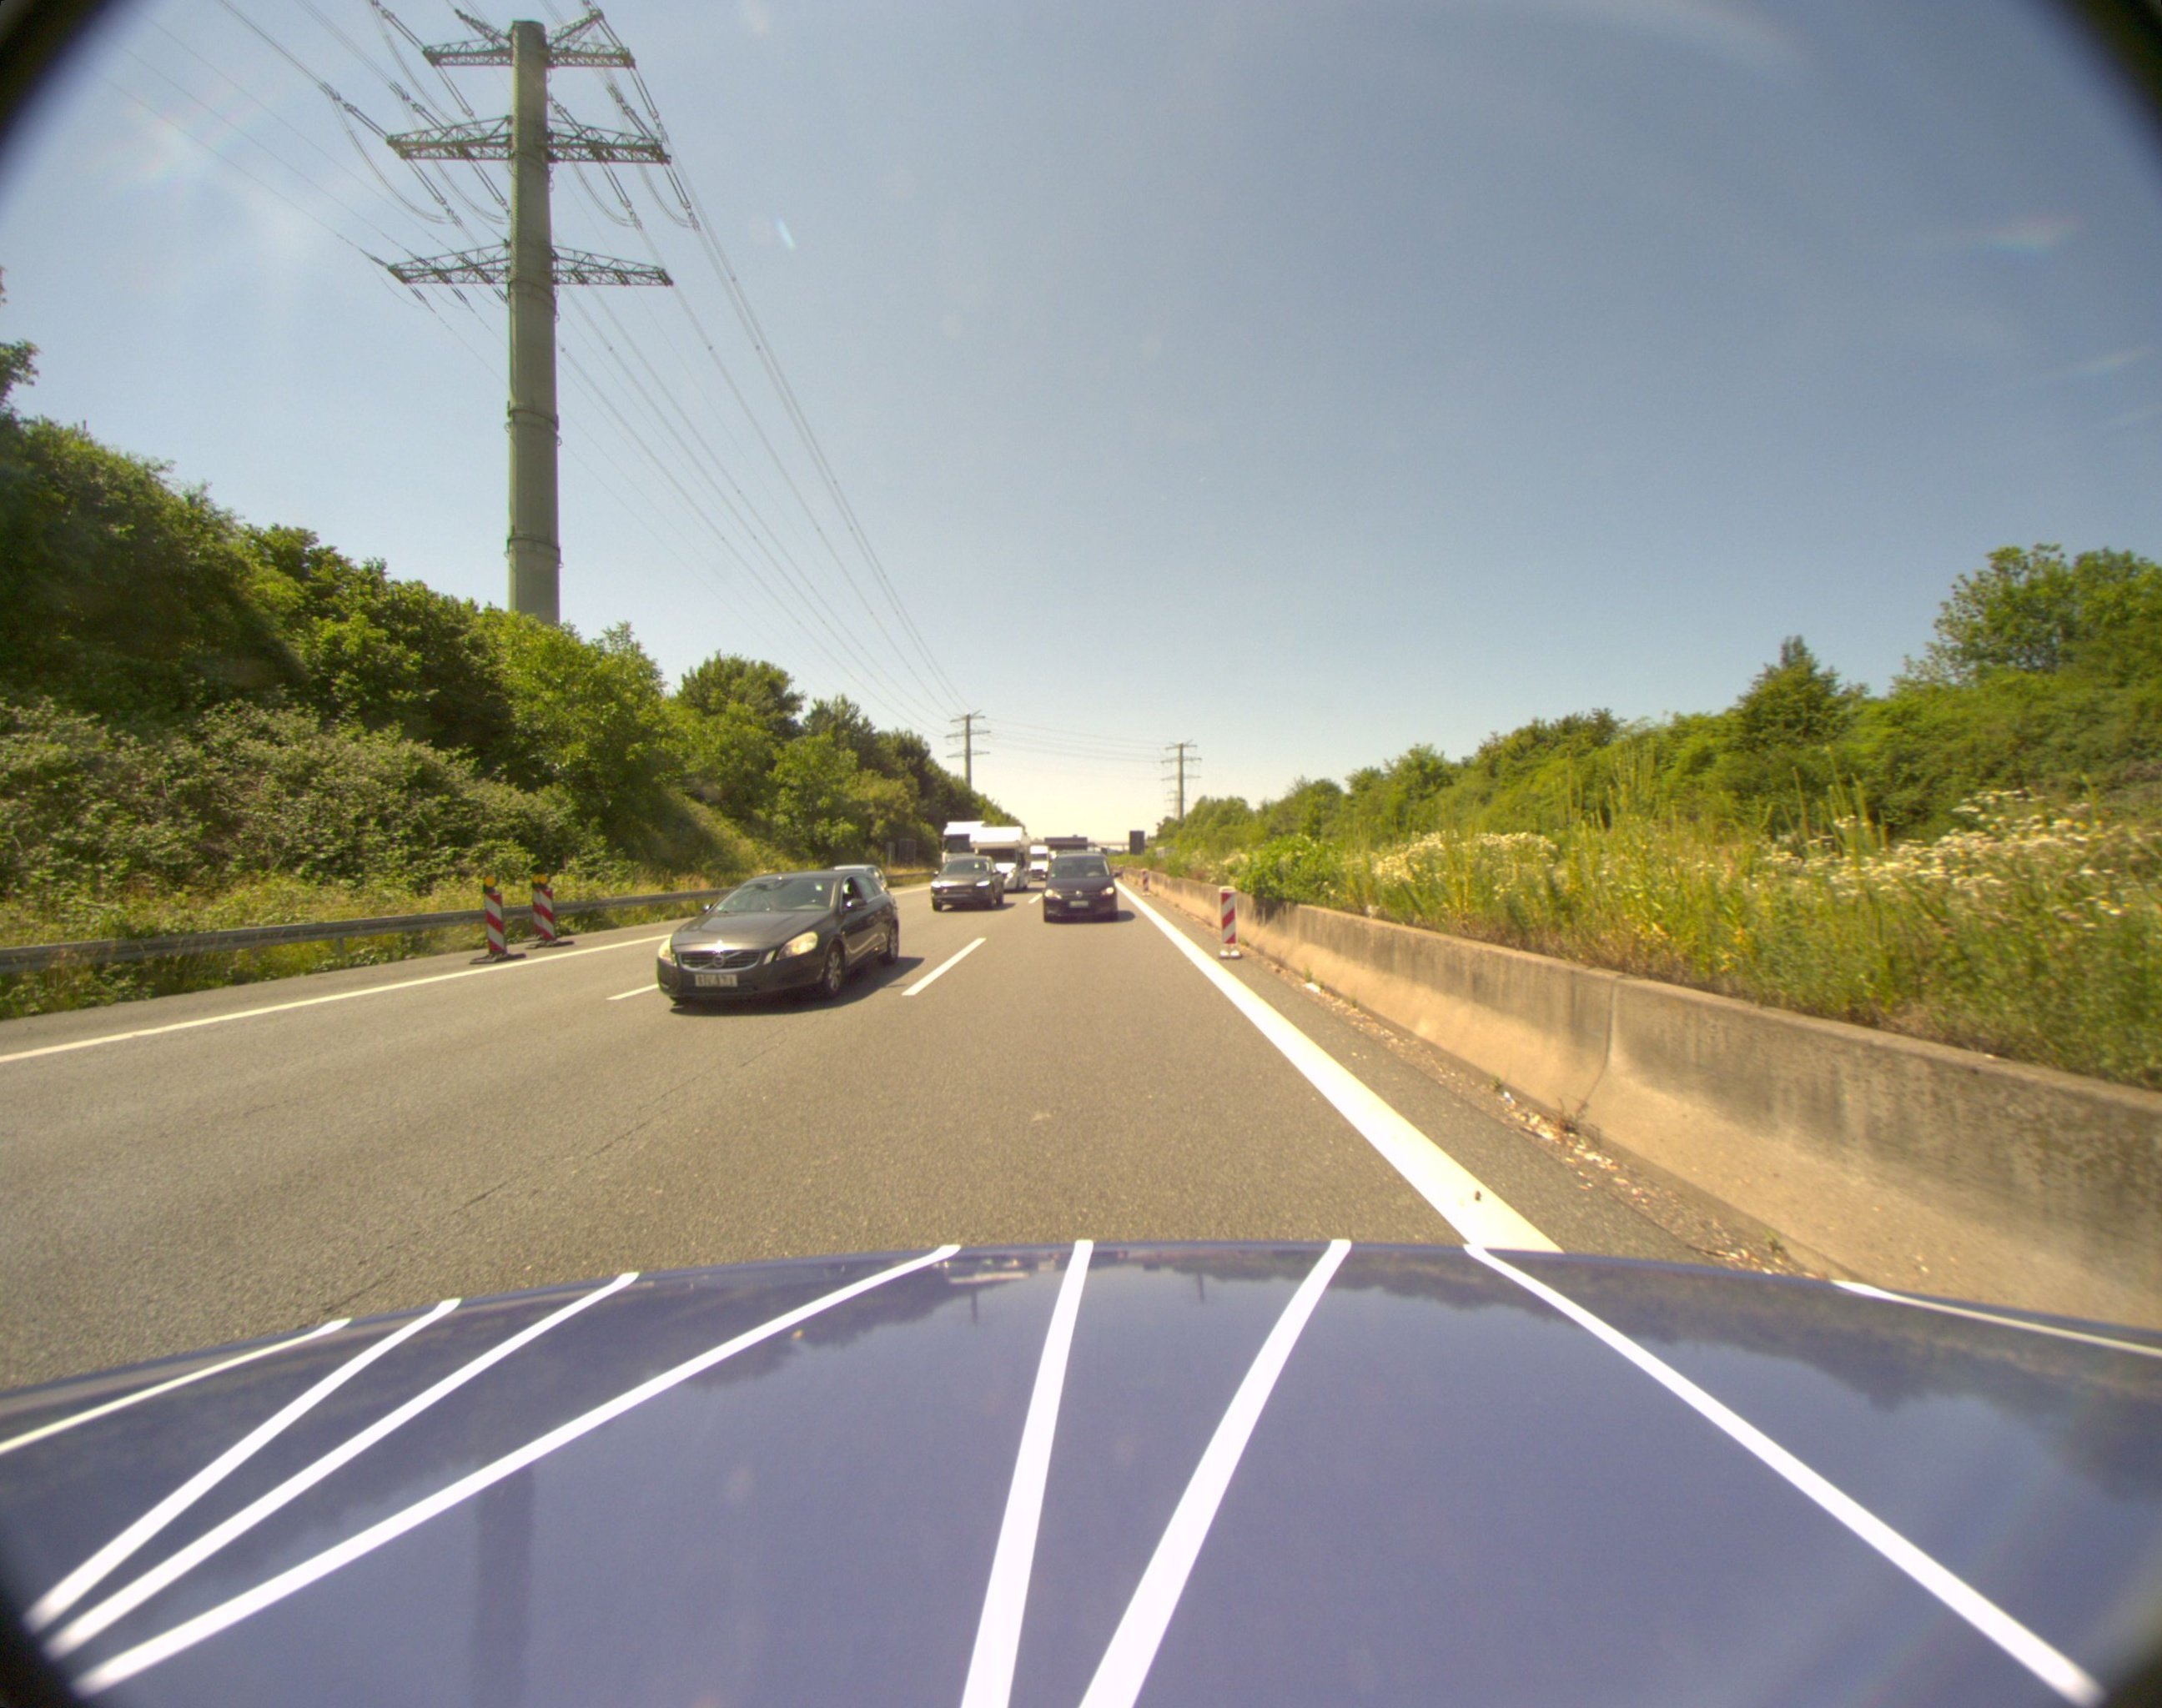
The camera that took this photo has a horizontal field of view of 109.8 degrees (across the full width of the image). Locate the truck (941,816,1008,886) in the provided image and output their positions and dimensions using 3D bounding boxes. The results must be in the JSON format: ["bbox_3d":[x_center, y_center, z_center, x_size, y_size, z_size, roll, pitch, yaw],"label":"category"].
[{"bbox_3d":[-7.038,-0.211,52.204,2.655,4.127,11.661,-2,0,1],"label":"truck"}]

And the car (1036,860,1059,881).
[{"bbox_3d":[-3.057,1.482,69.981,1.892,1.692,4.383,-2,0,-1],"label":"car"}]

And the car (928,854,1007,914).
[{"bbox_3d":[-3.539,0.885,24.549,1.892,1.692,4.383,-2,0,-1],"label":"car"}]

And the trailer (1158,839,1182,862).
[{"bbox_3d":[17.315,-0.733,148.924,3.024,4.142,14.020,2,0,1],"label":"trailer"}]

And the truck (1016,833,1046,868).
[{"bbox_3d":[-6.128,-0.436,95.495,2.655,4.127,11.661,-2,0,1],"label":"truck"}]

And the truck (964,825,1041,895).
[{"bbox_3d":[-3.702,0.239,38.401,2.514,2.997,9.898,-2,0,2],"label":"truck"}]

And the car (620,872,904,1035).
[{"bbox_3d":[-3.626,1.029,9.593,1.800,1.429,4.230,-2,0,-1],"label":"car"}]

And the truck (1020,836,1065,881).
[{"bbox_3d":[-2.741,0.281,57.269,2.514,2.997,9.898,-2,0,2],"label":"truck"}]

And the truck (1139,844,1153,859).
[{"bbox_3d":[16.768,-0.685,196.845,2.769,3.866,9.029,2,0,0],"label":"truck"}]

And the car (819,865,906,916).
[{"bbox_3d":[-7.089,1.132,25.038,1.800,1.429,3.731,-2,0,-1],"label":"car"}]

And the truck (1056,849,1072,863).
[{"bbox_3d":[-2.908,0.299,131.050,2.408,2.203,6.744,-2,0,2],"label":"truck"}]

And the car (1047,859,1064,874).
[{"bbox_3d":[-3.124,1.474,93.682,1.892,1.692,4.383,-2,0,-1],"label":"car"}]

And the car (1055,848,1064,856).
[{"bbox_3d":[-5.415,-0.473,191.476,1.998,2.002,4.000,-2,0,1],"label":"car"}]

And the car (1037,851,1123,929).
[{"bbox_3d":[-0.047,0.802,19.361,1.892,1.692,4.383,-2,0,-1],"label":"car"}]
